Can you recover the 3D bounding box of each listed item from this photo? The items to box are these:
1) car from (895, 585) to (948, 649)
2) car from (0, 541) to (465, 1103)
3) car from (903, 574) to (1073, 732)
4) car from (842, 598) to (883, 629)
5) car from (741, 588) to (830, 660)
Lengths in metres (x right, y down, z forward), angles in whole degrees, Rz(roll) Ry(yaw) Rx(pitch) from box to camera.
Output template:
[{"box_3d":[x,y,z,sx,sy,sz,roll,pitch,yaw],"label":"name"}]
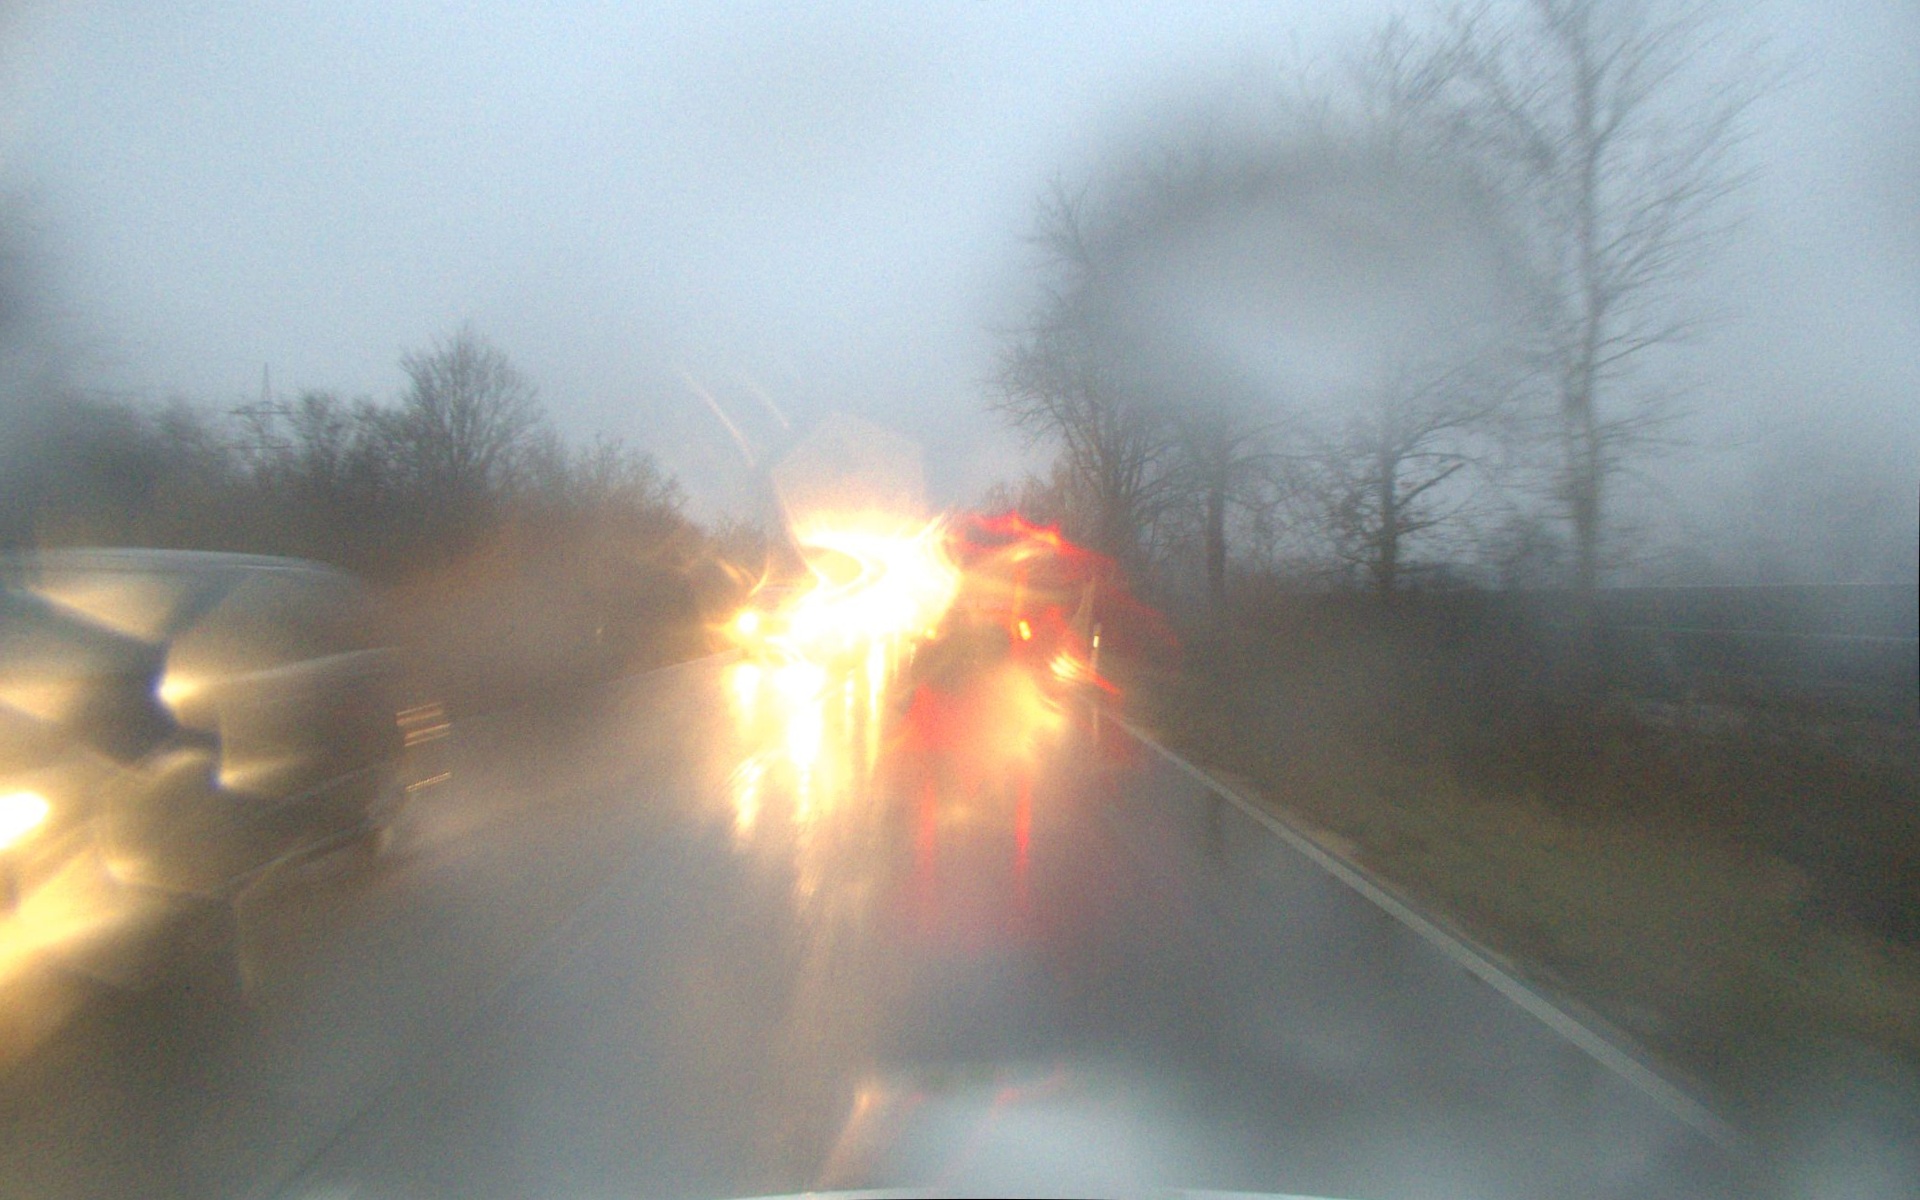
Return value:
[{"box_3d":[-1.178,0.528,52.012,1.542,1.907,3.709,1,0,0],"label":"car"},{"box_3d":[-3.672,0.634,7.072,1.743,1.624,4.692,0,0,-1],"label":"car"},{"box_3d":[0.342,0.623,21.363,1.952,1.816,4.000,1,0,0],"label":"car"},{"box_3d":[-4.819,0.636,81.927,1.780,1.466,3.456,1,0,1],"label":"car"},{"box_3d":[-4.258,0.559,40.923,1.883,1.683,4.103,1,0,-2],"label":"car"}]
